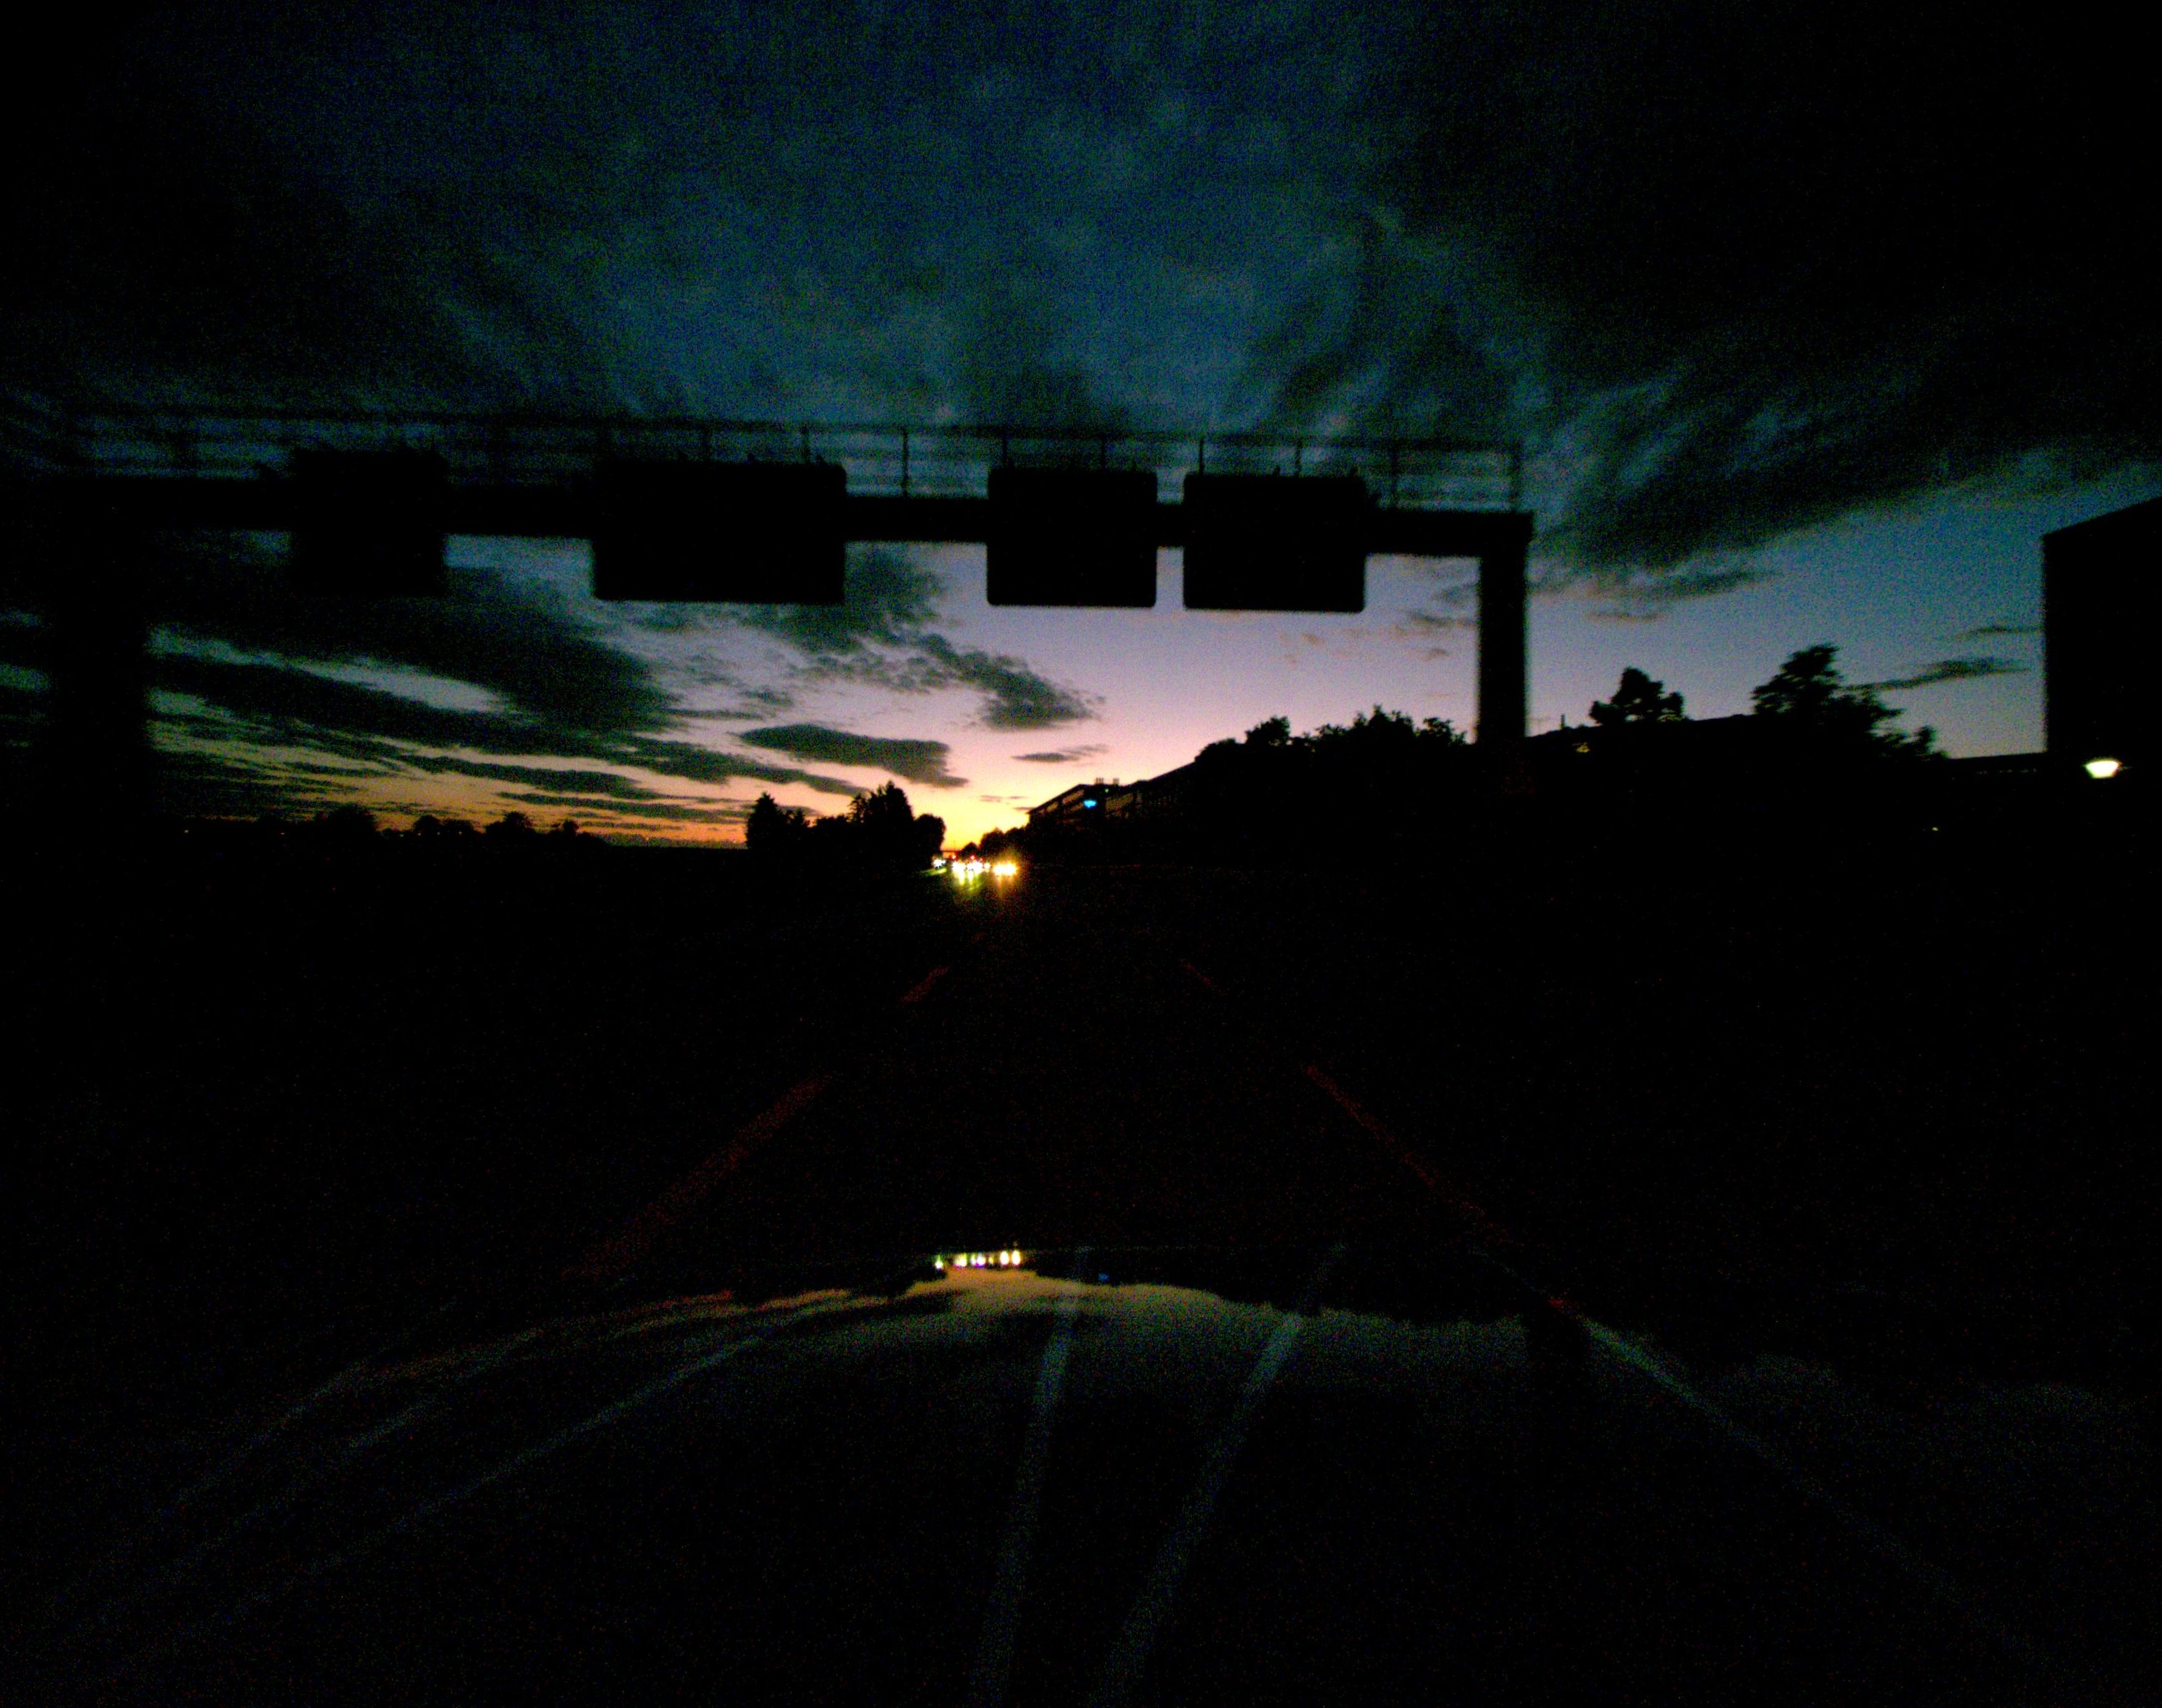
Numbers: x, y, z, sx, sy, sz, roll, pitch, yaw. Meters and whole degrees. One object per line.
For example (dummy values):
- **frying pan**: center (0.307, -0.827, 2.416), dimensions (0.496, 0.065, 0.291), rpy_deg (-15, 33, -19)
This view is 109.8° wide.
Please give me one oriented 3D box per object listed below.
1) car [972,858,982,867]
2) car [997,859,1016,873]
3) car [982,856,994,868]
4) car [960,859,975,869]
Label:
- **car**: center (-21.157, 1.702, 155.007), dimensions (1.834, 1.739, 3.847), rpy_deg (-3, 0, -9)
- **car**: center (-7.834, 1.244, 79.858), dimensions (1.757, 1.447, 3.801), rpy_deg (-3, 0, -9)
- **car**: center (-17.175, 1.429, 140.425), dimensions (1.862, 2.002, 3.998), rpy_deg (-2, 0, -4)
- **car**: center (-18.337, 1.578, 123.174), dimensions (1.999, 1.574, 3.999), rpy_deg (-2, 0, -4)
